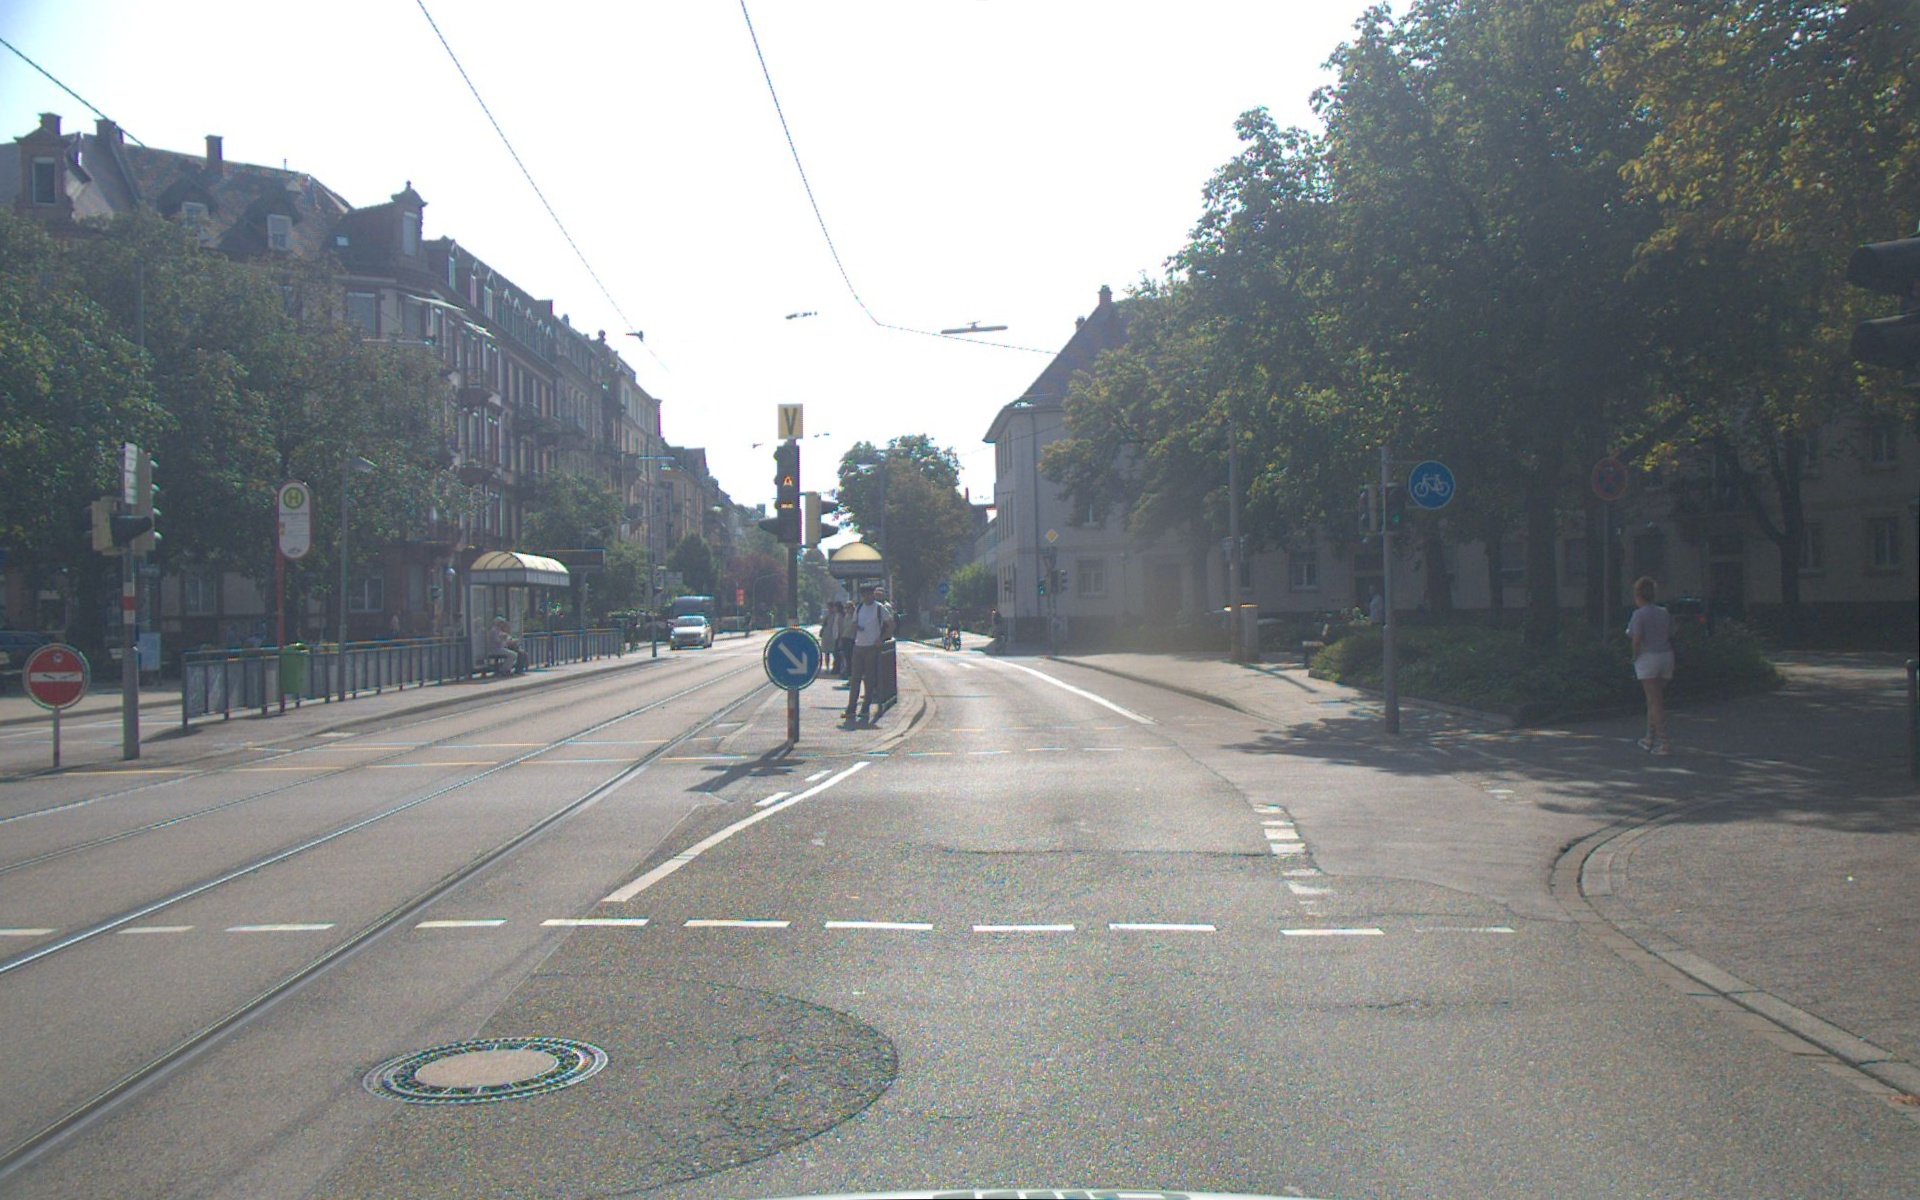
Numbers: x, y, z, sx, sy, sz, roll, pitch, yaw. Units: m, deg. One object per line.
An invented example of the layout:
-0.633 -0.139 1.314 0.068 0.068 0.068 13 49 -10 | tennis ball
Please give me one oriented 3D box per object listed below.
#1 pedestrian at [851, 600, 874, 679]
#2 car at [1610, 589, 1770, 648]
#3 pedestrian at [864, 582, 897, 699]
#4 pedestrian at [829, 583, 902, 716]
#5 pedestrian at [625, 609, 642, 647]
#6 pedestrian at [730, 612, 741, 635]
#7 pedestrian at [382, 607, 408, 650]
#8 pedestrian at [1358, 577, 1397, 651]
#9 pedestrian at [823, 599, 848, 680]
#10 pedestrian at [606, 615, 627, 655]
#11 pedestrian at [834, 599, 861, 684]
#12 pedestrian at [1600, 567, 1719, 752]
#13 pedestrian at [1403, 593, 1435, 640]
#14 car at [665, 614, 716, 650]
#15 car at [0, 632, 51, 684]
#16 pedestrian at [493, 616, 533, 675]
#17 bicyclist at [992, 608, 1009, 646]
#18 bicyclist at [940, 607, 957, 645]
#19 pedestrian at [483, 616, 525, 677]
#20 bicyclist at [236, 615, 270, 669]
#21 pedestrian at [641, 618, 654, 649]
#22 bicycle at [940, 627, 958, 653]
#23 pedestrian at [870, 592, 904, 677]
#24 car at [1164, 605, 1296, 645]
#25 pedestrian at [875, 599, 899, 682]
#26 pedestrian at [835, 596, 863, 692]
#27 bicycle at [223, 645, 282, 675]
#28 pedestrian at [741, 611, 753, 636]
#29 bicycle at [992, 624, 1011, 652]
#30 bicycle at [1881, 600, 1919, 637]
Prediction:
-2.269 0.905 38.412 0.494 1.790 0.534 1 2 -2 | pedestrian
19.188 0.486 43.652 1.822 1.443 3.986 -1 0 -13 | car
-1.298 0.651 26.930 0.494 1.866 0.534 1 2 -2 | pedestrian
-1.292 0.662 22.662 0.687 1.755 0.746 2 2 30 | pedestrian
-15.337 1.323 77.716 0.736 1.761 0.769 -1 -1 -11 | pedestrian
-17.354 1.795 127.782 0.736 1.761 0.769 -1 -1 -11 | pedestrian
-23.262 1.170 68.091 0.764 1.761 0.741 -1 -1 -41 | pedestrian
10.247 0.347 40.547 0.872 1.771 0.777 -2 -1 15 | pedestrian
-2.846 0.897 37.808 0.521 1.790 0.545 1 2 -1 | pedestrian
-15.035 1.531 72.456 0.734 1.761 0.771 -1 -1 0 | pedestrian
-2.416 0.879 35.598 0.532 1.790 0.534 1 2 -2 | pedestrian
6.883 0.574 16.302 0.736 1.761 0.769 -1 -1 -11 | pedestrian
17.801 0.641 64.135 0.770 1.771 0.879 -1 -1 -44 | pedestrian
-12.938 1.518 79.593 1.764 1.682 3.643 -1 0 1 | car
-31.776 1.890 52.950 4.243 1.596 1.995 -1 -1 -10 | car
-10.776 1.099 39.885 0.812 1.382 0.775 -1 -1 -7 | pedestrian
1.554 1.028 63.444 0.547 1.441 0.871 -1 0 -4 | bicyclist
-0.469 1.064 67.909 0.616 1.534 0.678 -1 0 -4 | bicyclist
-10.714 1.088 38.910 0.812 1.382 0.775 -1 -1 -7 | pedestrian
-25.333 1.511 59.232 0.484 1.890 0.983 -2 -1 42 | bicyclist
-17.954 1.914 95.000 0.736 1.761 0.769 -1 -1 -11 | pedestrian
-0.461 1.634 67.906 0.616 0.995 1.769 -1 0 -4 | bicycle
-1.578 0.746 35.821 0.694 1.790 0.534 1 2 -2 | pedestrian
9.731 0.922 59.720 4.250 1.343 1.992 -2 -1 37 | car
-1.612 0.882 36.436 0.494 1.790 0.534 1 2 -2 | pedestrian
-2.122 0.830 31.600 0.494 1.790 0.534 1 2 -2 | pedestrian
-25.323 2.141 59.223 0.488 0.995 1.930 -2 -1 42 | bicycle
-15.437 1.705 119.936 0.736 1.761 0.769 -1 -1 -11 | pedestrian
1.572 1.448 63.426 0.547 0.995 1.855 -1 0 -4 | bicycle
25.597 0.491 44.718 0.416 0.995 1.554 -1 0 -5 | bicycle
